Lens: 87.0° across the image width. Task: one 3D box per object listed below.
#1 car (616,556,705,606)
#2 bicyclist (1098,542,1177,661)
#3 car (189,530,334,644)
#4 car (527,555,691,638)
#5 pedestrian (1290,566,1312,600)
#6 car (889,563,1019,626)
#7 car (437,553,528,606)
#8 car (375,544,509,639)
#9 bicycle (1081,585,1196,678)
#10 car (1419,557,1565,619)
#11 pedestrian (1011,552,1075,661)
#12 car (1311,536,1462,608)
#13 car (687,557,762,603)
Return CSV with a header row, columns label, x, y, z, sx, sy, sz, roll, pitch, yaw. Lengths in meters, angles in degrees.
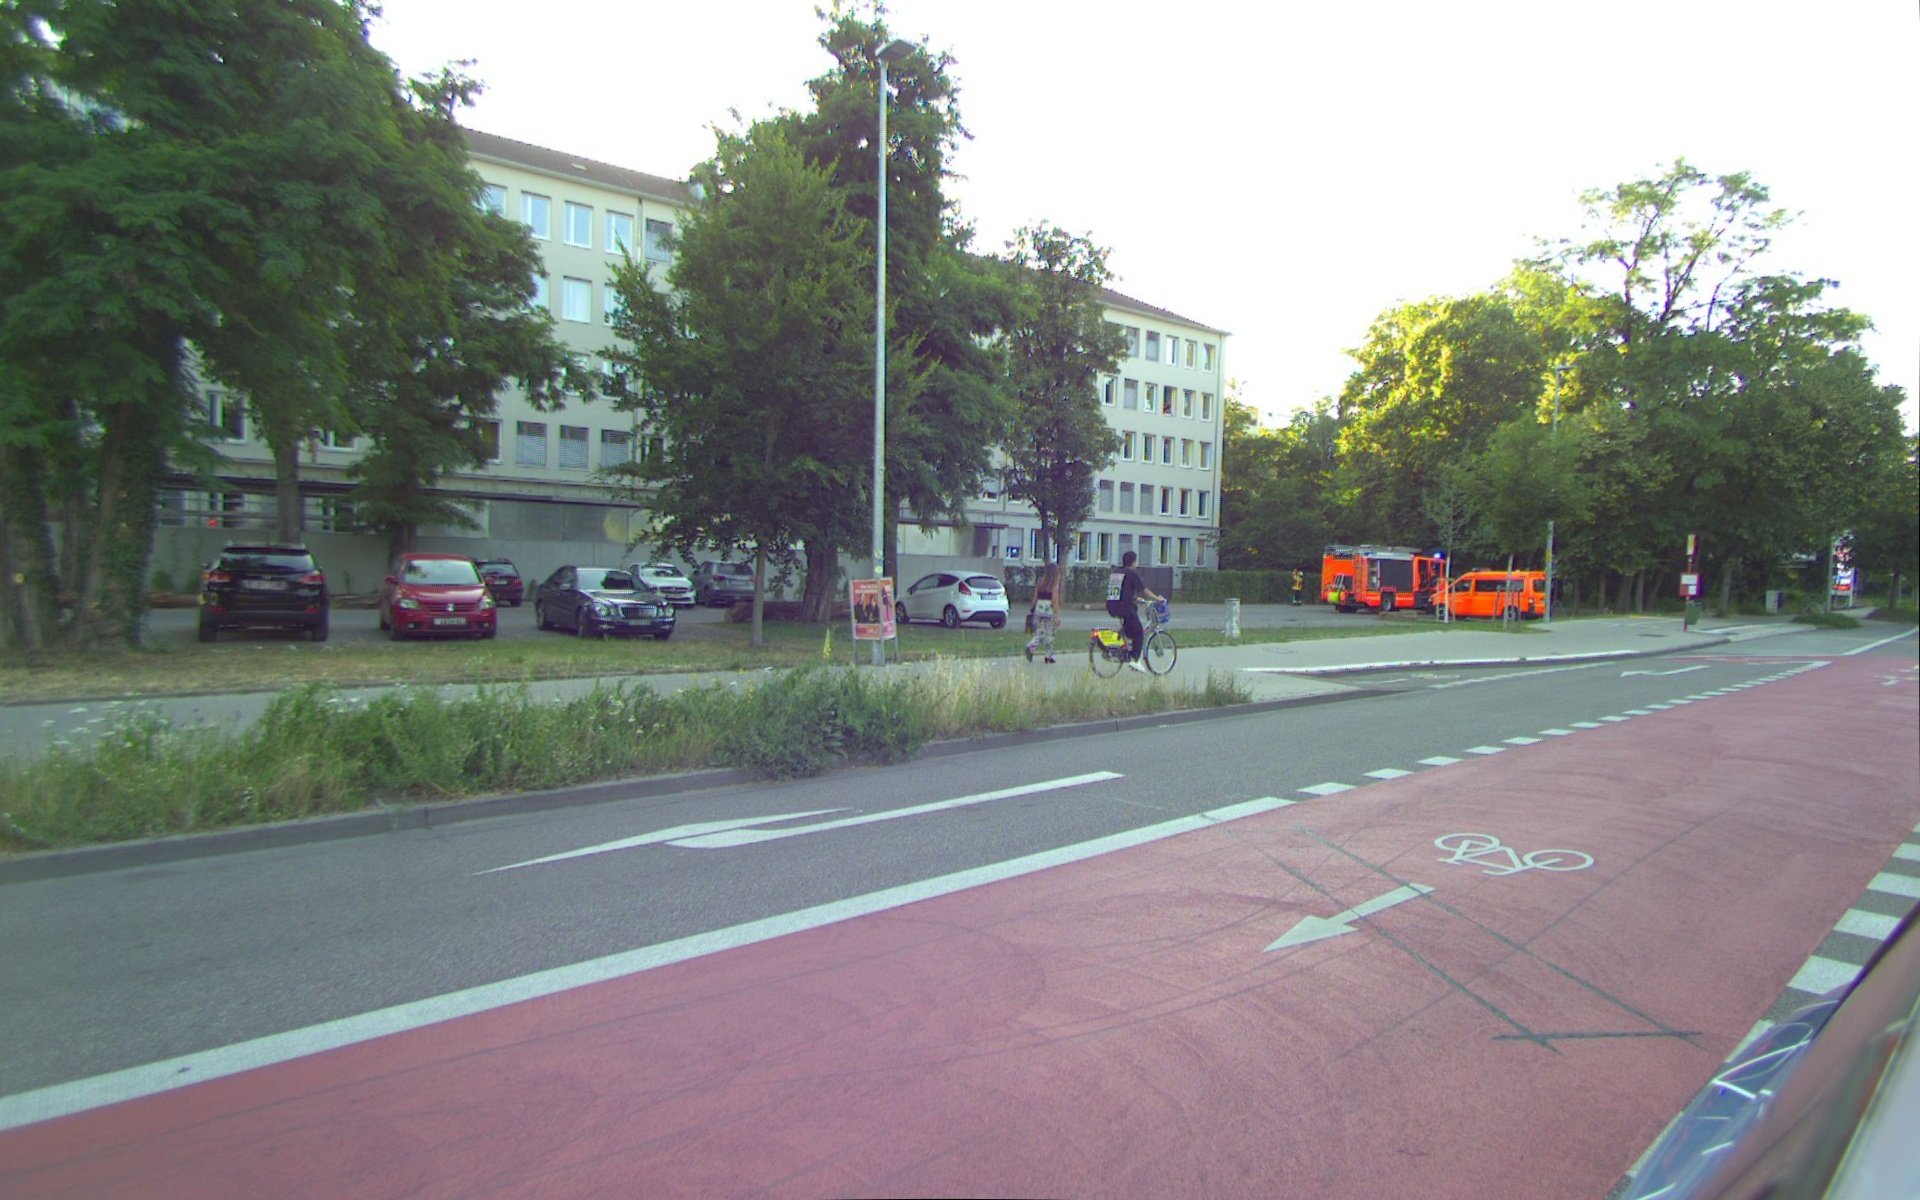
label,x,y,z,sx,sy,sz,roll,pitch,yaw
car,-10.019,-0.662,33.685,1.880,1.540,3.921,0,2,-32
bicyclist,2.566,0.005,14.605,1.019,1.652,0.571,0,2,-41
car,-12.292,-0.295,17.863,1.882,1.761,4.241,0,2,-35
car,-7.386,-0.145,20.989,1.883,1.482,4.519,0,3,-37
pedestrian,18.679,-0.937,55.431,0.670,1.864,0.846,1,1,-37
car,-0.223,-0.194,26.855,1.633,1.477,3.667,0,2,-35
car,-14.527,-0.641,30.699,1.738,1.477,3.626,0,3,-38
car,-10.111,-0.234,19.597,1.882,1.630,4.003,0,2,-33
bicycle,2.607,0.427,14.660,1.866,1.256,0.571,0,2,-41
car,22.779,-0.572,43.553,1.963,2.422,5.168,0,2,-37
pedestrian,1.302,0.087,15.870,0.676,1.642,0.682,1,2,-41
car,20.965,-1.352,49.516,8.138,3.283,2.775,0,2,-34
car,-8.204,-0.704,35.083,1.734,1.477,3.320,1,2,-27
